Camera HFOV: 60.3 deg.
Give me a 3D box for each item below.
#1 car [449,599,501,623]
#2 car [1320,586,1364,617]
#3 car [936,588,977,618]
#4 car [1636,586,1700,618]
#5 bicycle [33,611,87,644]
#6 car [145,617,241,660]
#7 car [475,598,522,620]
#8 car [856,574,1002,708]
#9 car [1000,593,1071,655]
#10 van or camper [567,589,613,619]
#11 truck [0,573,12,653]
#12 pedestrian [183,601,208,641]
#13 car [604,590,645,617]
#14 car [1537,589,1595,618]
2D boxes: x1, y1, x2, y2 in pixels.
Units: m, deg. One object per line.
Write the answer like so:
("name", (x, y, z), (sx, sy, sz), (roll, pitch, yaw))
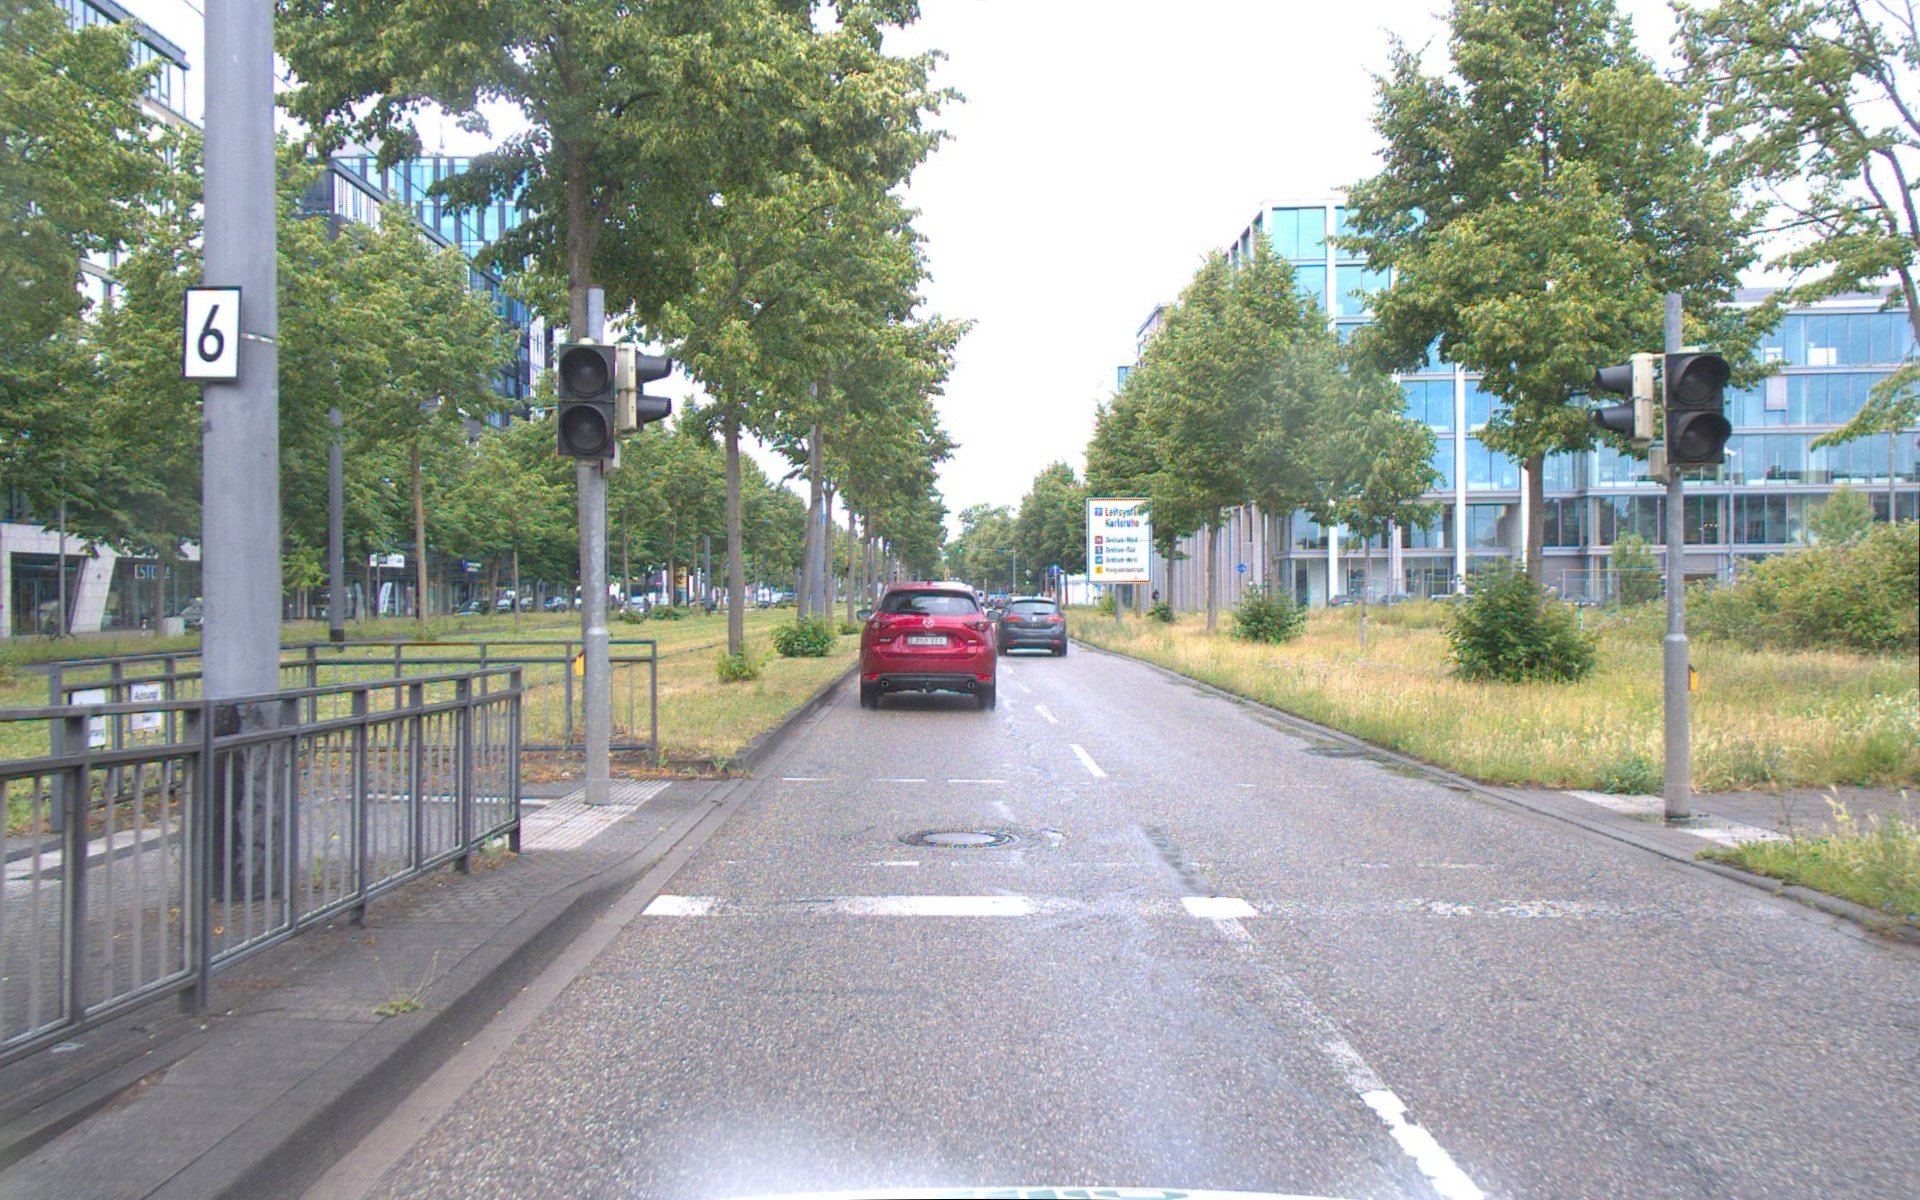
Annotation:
("car", (-28.928, 0.634, 98.819), (1.953, 1.402, 3.999), (0, 0, -1))
("car", (20.258, 0.067, 87.776), (1.815, 1.608, 4.003), (0, 0, 6))
("car", (-0.211, 0.145, 84.921), (1.928, 1.462, 4.551), (0, 0, -2))
("car", (36.563, 0.104, 85.505), (1.816, 1.629, 4.002), (0, 0, 4))
("bicycle", (-26.775, 0.810, 49.238), (0.586, 0.961, 1.758), (0, 0, 3))
("car", (-28.799, 1.440, 62.232), (1.817, 1.490, 3.987), (0, 0, -1))
("car", (-29.379, 0.560, 105.392), (1.953, 1.402, 3.999), (0, 0, -1))
("car", (-0.435, 0.511, 23.019), (1.860, 1.706, 3.999), (0, 0, -1))
("car", (1.903, 0.578, 41.959), (1.707, 1.490, 3.782), (0, 0, 2))
("van or camper", (-29.486, 0.306, 131.920), (2.383, 2.356, 5.849), (0, 0, -1))
("truck", (-29.023, 0.397, 45.459), (2.377, 2.331, 6.308), (0, 0, -1))
("pedestrian", (-38.305, 1.040, 82.896), (0.777, 2.016, 0.856), (0, 0, 7))
("car", (-21.724, 0.208, 107.262), (1.953, 1.685, 3.698), (0, 0, -2))
("car", (31.585, 0.175, 86.338), (1.748, 1.500, 4.232), (0, 0, 4))
